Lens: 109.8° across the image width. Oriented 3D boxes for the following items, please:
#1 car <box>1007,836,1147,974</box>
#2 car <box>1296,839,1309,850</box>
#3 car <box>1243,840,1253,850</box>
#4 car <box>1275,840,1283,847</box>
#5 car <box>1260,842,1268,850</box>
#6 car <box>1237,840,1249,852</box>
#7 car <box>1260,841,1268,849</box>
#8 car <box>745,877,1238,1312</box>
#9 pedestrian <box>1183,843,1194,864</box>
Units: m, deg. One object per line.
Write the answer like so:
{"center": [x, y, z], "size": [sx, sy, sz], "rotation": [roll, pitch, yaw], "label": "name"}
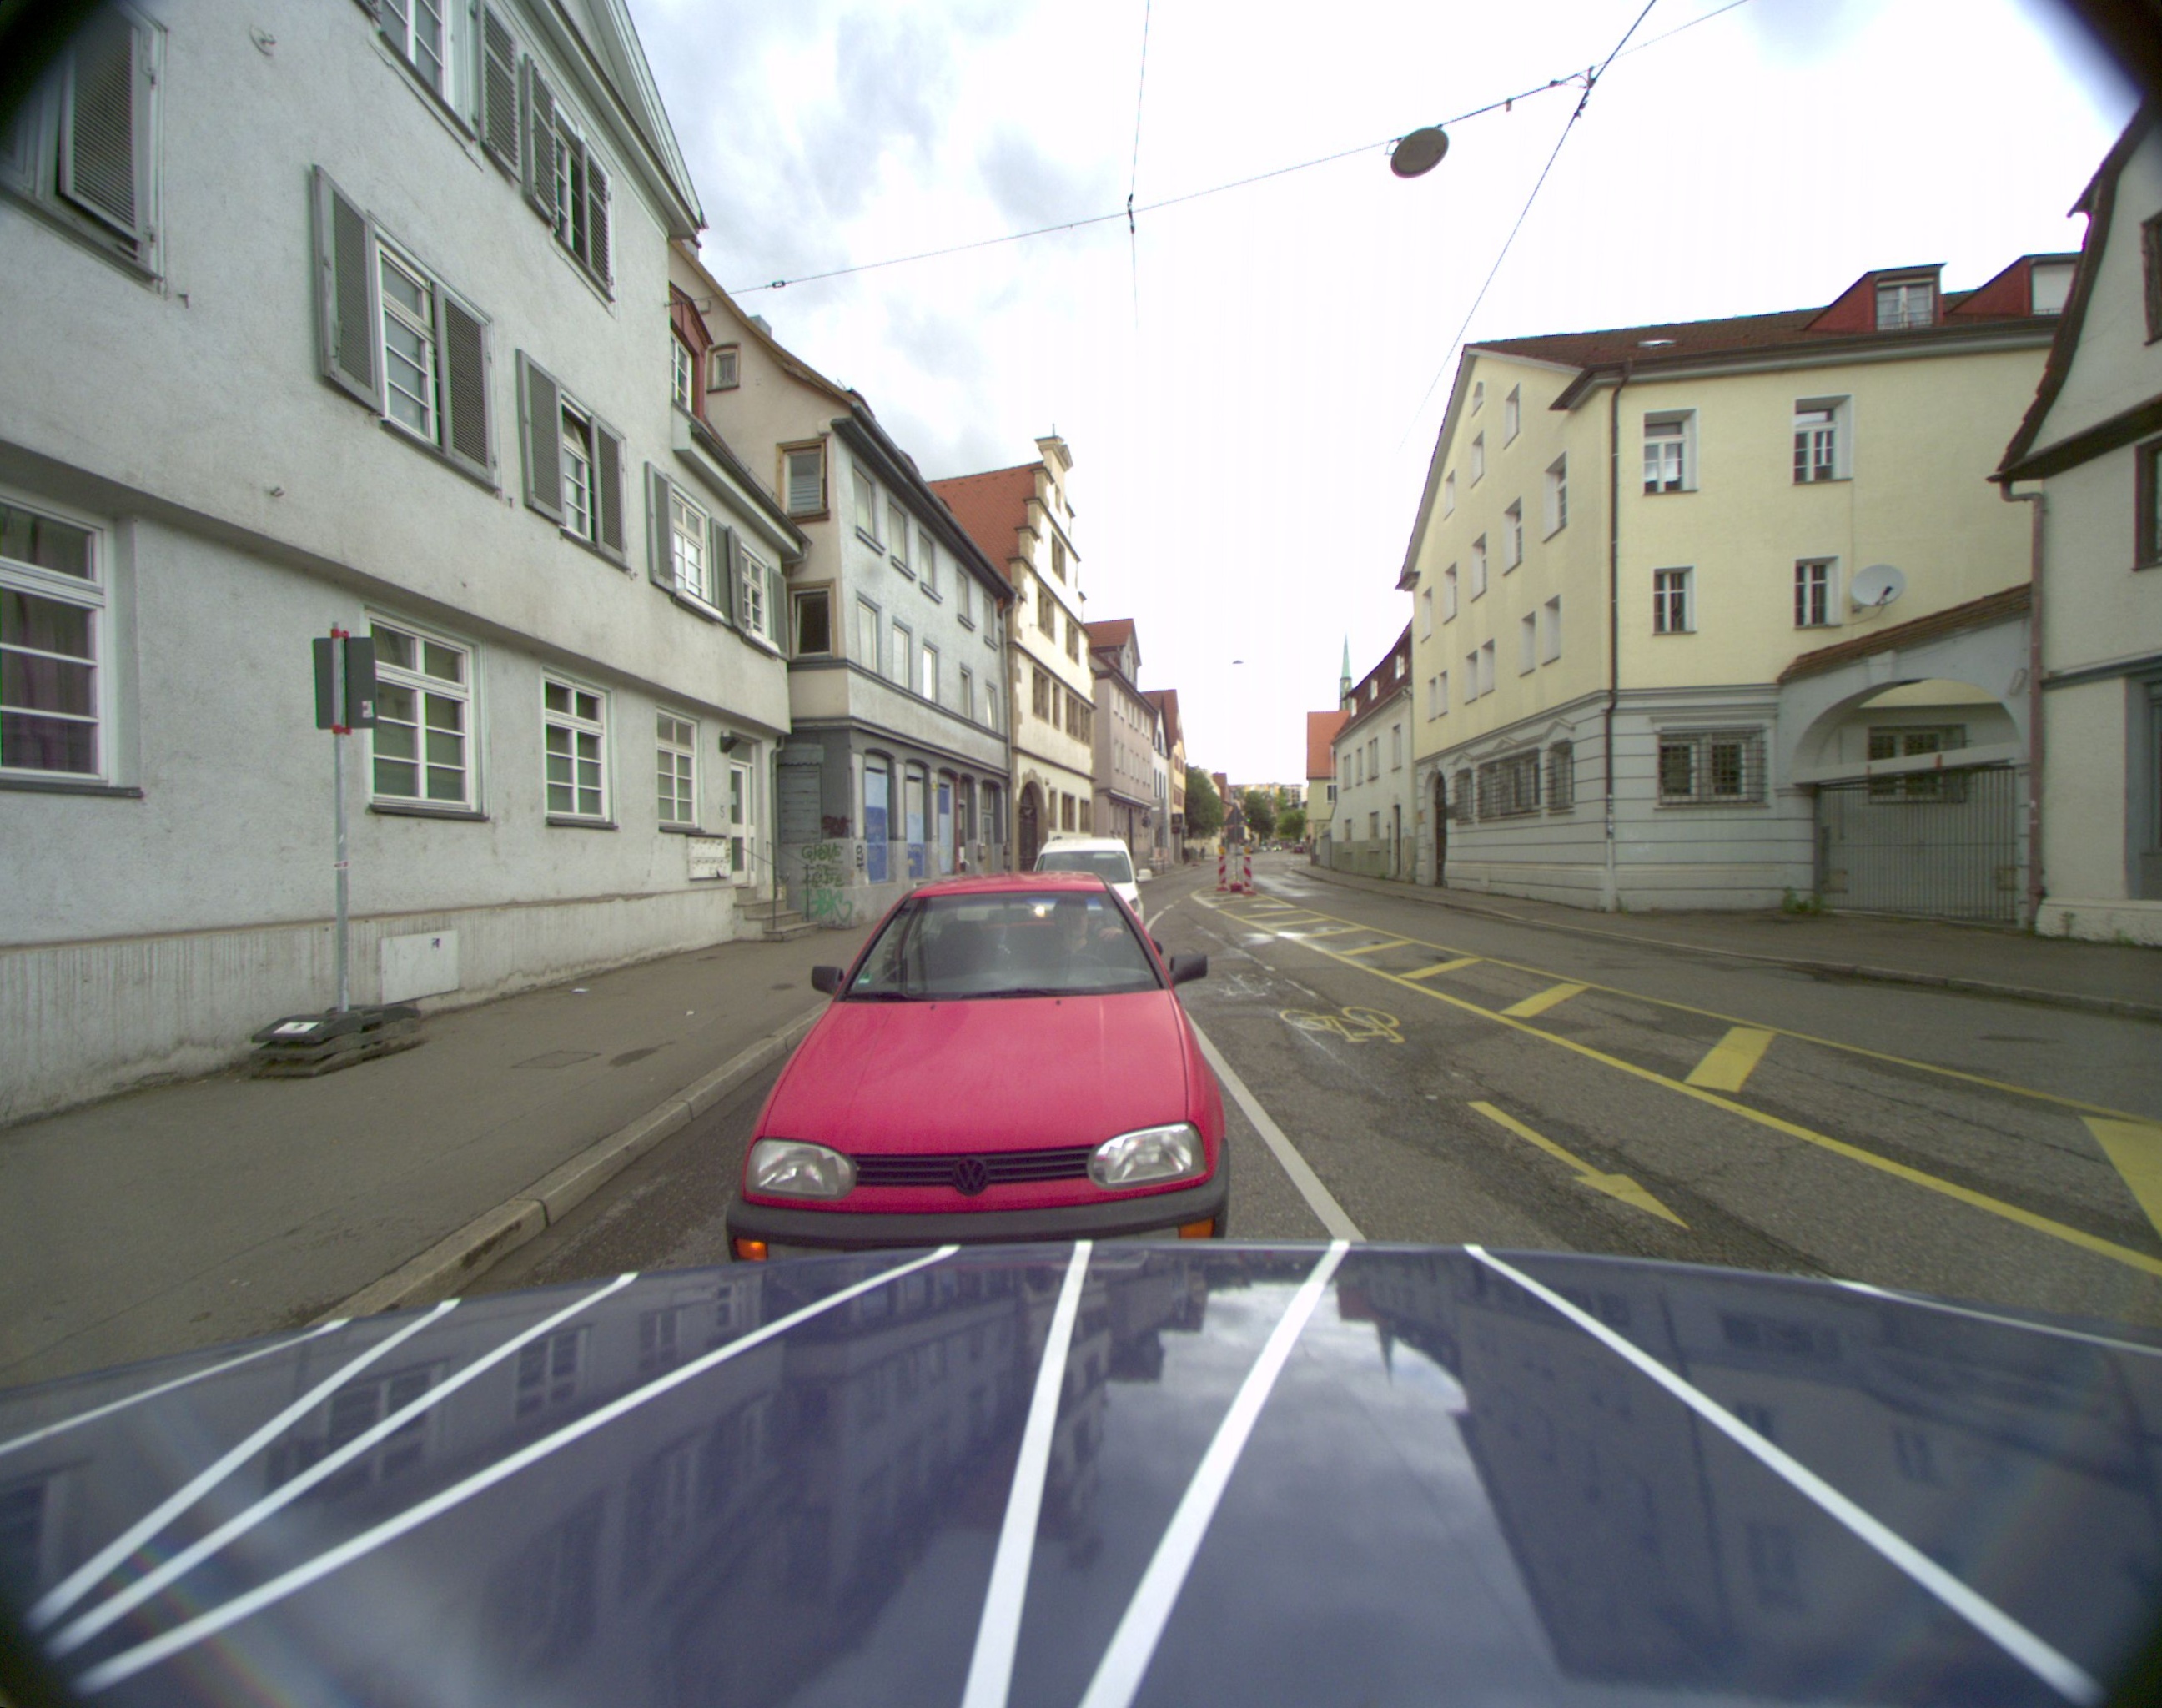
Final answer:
{"center": [-0.027, 0.674, 12.127], "size": [1.804, 1.781, 4.349], "rotation": [-1, 0, 1], "label": "car"}
{"center": [42.737, -1.780, 146.583], "size": [2.057, 2.002, 4.004], "rotation": [-1, 0, 13], "label": "car"}
{"center": [33.976, -1.759, 154.284], "size": [1.996, 2.002, 4.004], "rotation": [-1, 0, 13], "label": "car"}
{"center": [55.055, -2.894, 211.185], "size": [1.996, 2.002, 4.004], "rotation": [-1, 0, 13], "label": "car"}
{"center": [48.493, -2.112, 201.287], "size": [1.996, 2.002, 4.004], "rotation": [-1, 0, 13], "label": "car"}
{"center": [28.464, -1.347, 133.504], "size": [1.996, 2.002, 4.004], "rotation": [-1, 0, 13], "label": "car"}
{"center": [44.970, -2.161, 186.814], "size": [1.996, 2.002, 4.004], "rotation": [-1, 0, 13], "label": "car"}
{"center": [-0.317, 0.988, 4.917], "size": [1.804, 1.458, 4.000], "rotation": [-4, 0, 1], "label": "car"}
{"center": [9.691, -0.075, 68.490], "size": [0.877, 1.888, 0.898], "rotation": [-1, 0, 14], "label": "pedestrian"}
